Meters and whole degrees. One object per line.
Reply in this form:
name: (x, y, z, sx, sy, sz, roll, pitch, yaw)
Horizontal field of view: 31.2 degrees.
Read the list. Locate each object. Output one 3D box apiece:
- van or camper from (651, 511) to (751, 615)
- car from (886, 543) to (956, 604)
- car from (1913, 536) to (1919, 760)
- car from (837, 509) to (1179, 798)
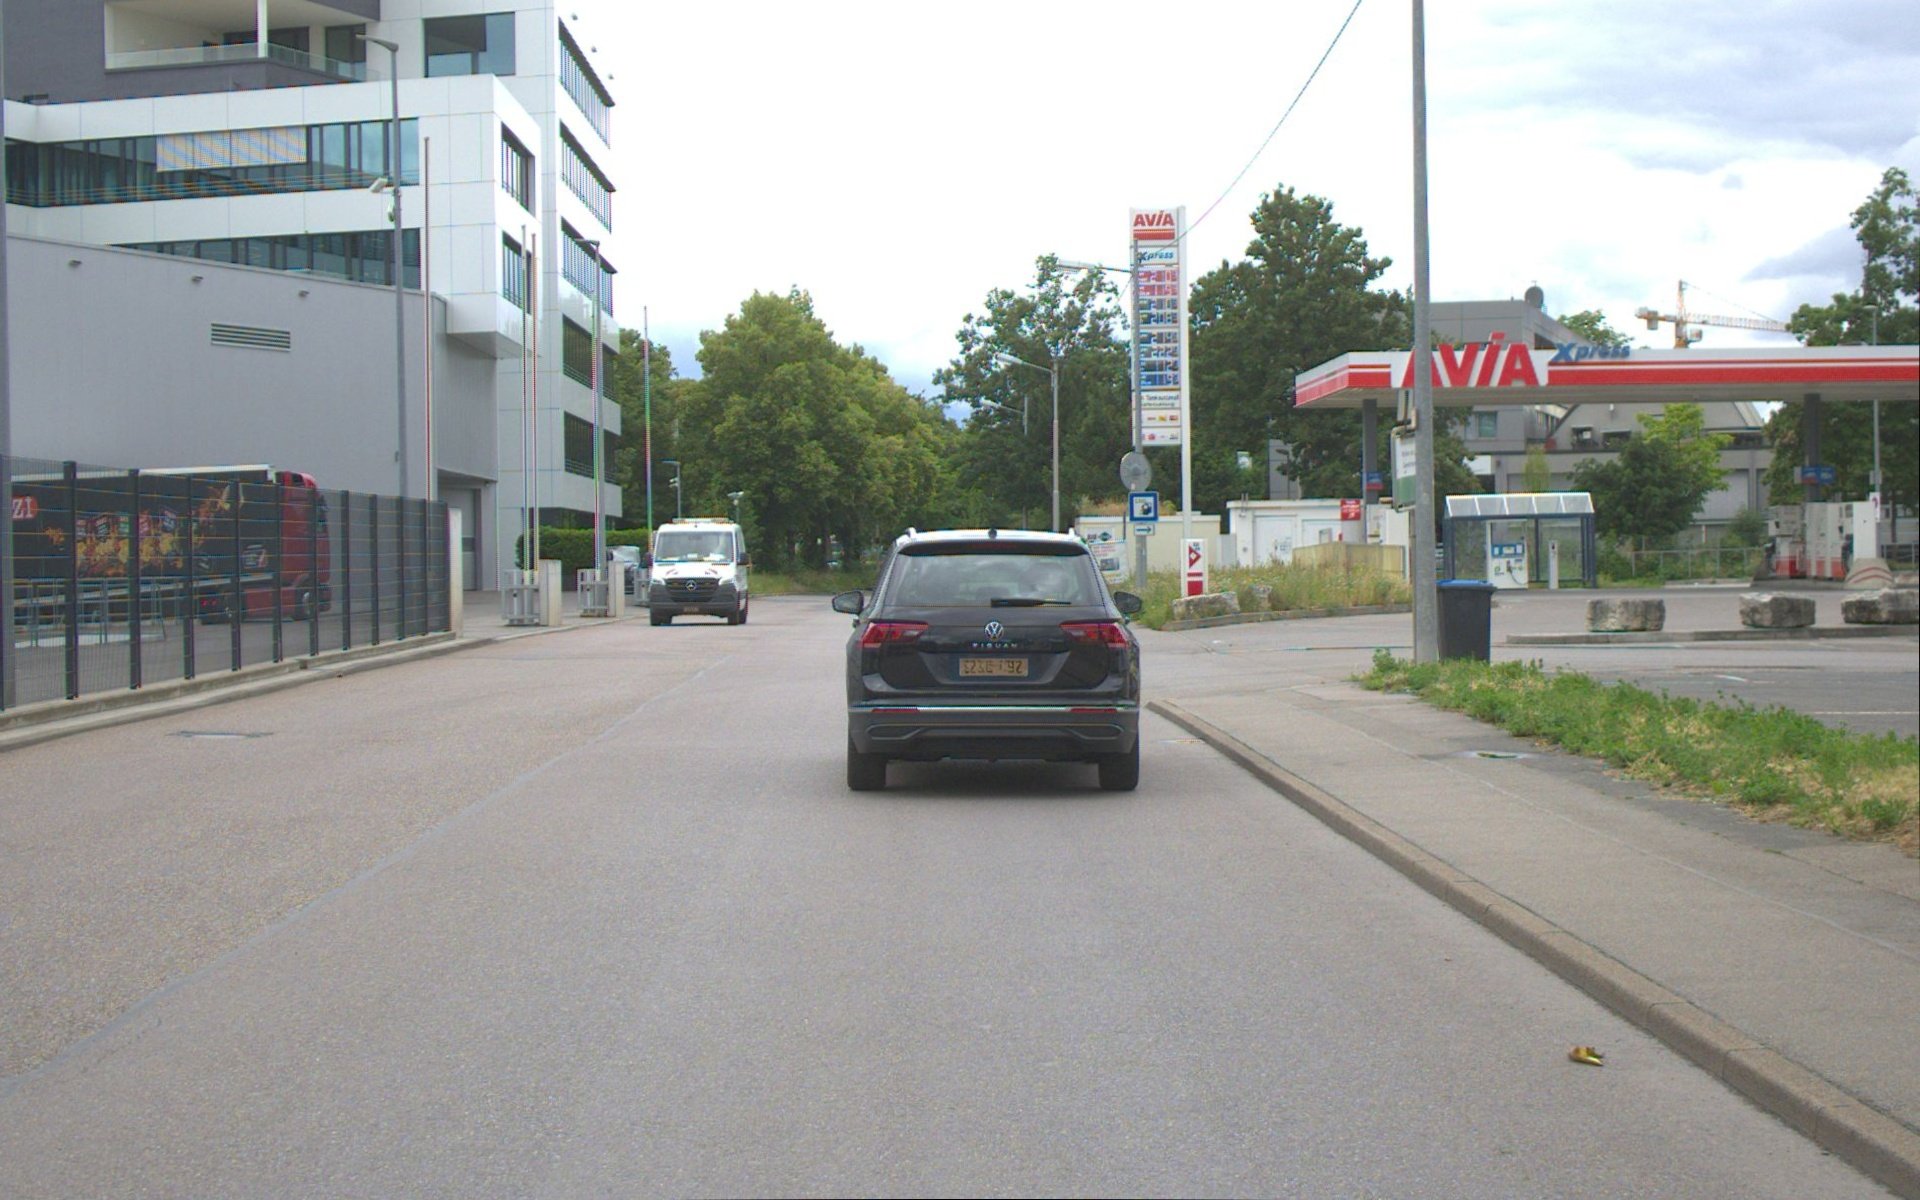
van or camper: (-5.800, -0.842, 77.368, 1.993, 2.248, 4.000, -1, 1, -1)
car: (-1.177, -0.800, 101.452, 1.993, 1.678, 4.372, -1, 2, -2)
car: (7.143, 0.350, 20.049, 1.889, 1.440, 4.429, 1, 1, 0)
car: (0.252, 0.295, 22.374, 1.993, 1.678, 4.371, -1, 0, -1)
